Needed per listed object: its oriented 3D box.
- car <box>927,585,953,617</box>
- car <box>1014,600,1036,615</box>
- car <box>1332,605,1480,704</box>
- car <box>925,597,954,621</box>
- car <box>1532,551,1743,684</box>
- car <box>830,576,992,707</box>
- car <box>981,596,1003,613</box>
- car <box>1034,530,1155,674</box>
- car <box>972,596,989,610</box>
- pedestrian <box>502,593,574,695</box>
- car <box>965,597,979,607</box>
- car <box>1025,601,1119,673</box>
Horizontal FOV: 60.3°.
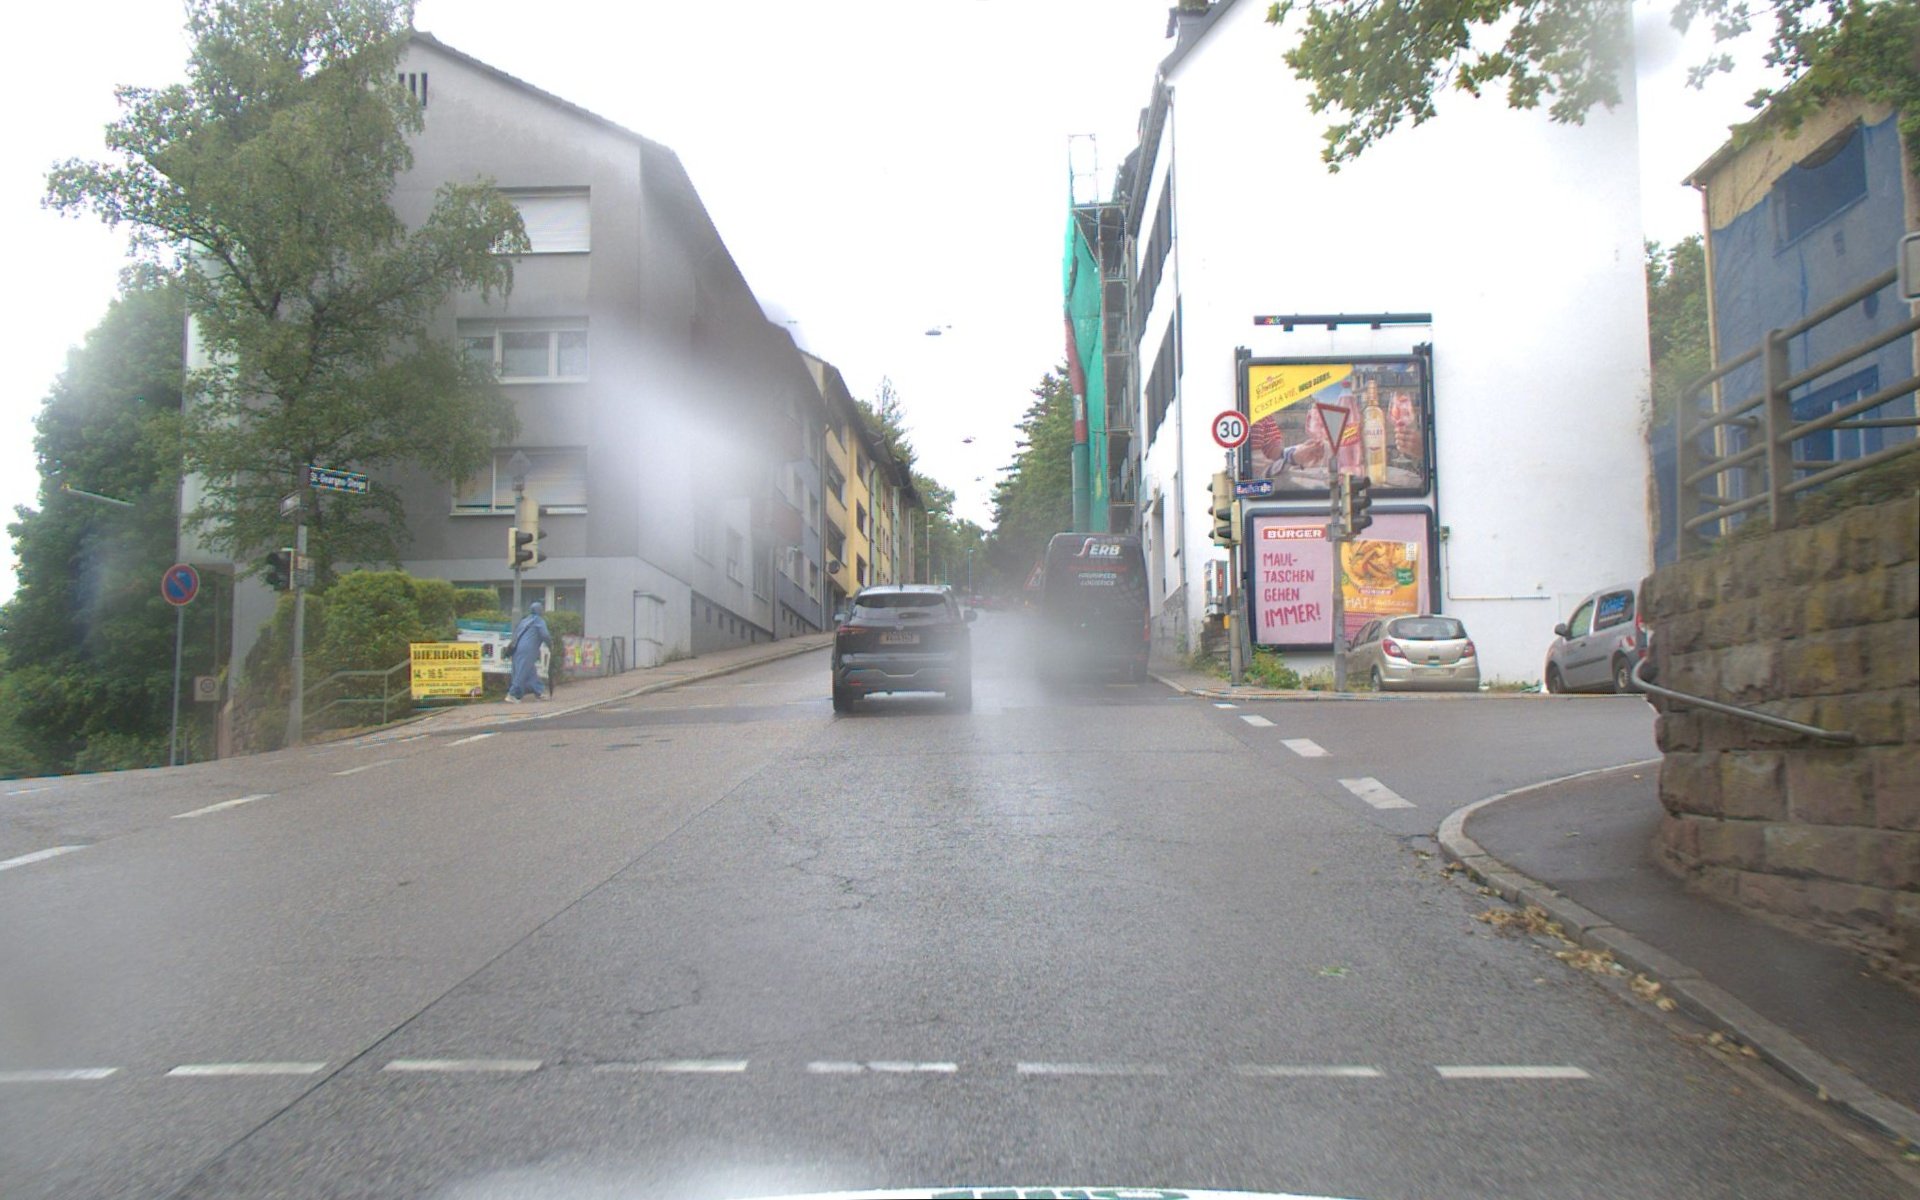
[{"bbox_3d":[-1.580,0.036,133.808,1.949,2.518,5.784,-1,0,0],"label":"car"},{"bbox_3d":[6.841,0.768,173.288,2.032,1.587,3.999,0,0,-2],"label":"car"},{"bbox_3d":[7.594,0.880,28.494,1.530,1.510,4.001,1,1,1],"label":"car"},{"bbox_3d":[-1.424,0.609,117.952,1.949,1.613,4.305,-1,0,0],"label":"car"},{"bbox_3d":[10.727,0.333,26.515,1.693,1.946,4.241,1,-2,1],"label":"car"},{"bbox_3d":[-0.566,0.484,22.321,1.952,1.586,4.001,1,1,1],"label":"car"},{"bbox_3d":[3.094,0.442,160.222,2.032,1.587,4.000,0,0,0],"label":"car"},{"bbox_3d":[2.448,0.133,31.386,1.952,2.456,5.836,1,-2,1],"label":"car"},{"bbox_3d":[2.381,0.335,194.439,2.032,1.587,4.000,0,0,0],"label":"car"},{"bbox_3d":[-6.677,0.697,26.202,0.851,1.568,1.087,1,-2,-2],"label":"pedestrian"},{"bbox_3d":[1.845,0.279,248.583,2.032,1.587,4.000,0,0,0],"label":"car"},{"bbox_3d":[2.516,0.820,38.031,1.952,1.539,4.338,1,0,1],"label":"car"}]
